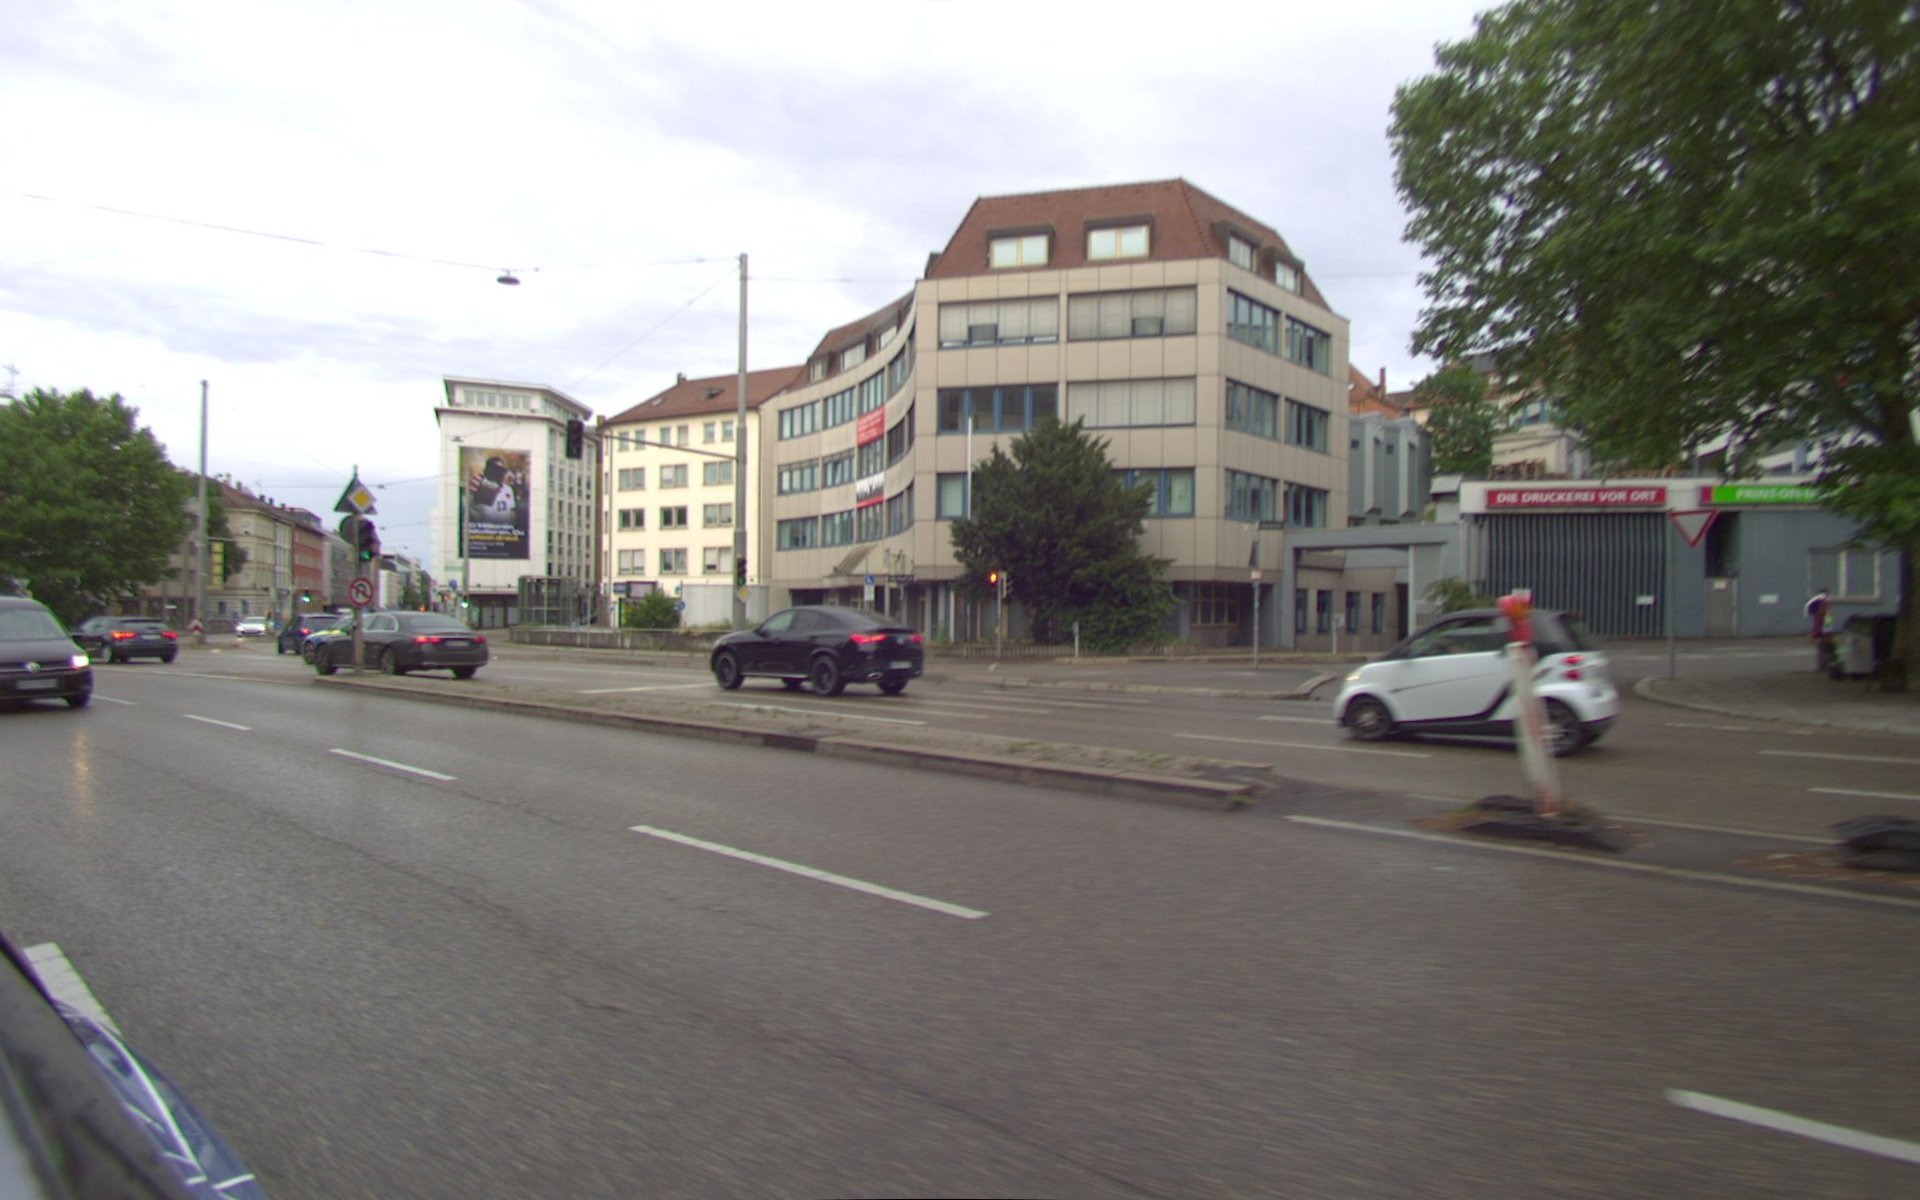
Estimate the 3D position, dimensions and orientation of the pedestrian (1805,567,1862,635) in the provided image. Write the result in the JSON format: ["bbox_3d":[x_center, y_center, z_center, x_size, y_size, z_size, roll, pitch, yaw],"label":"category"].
[{"bbox_3d":[26.337,0.051,30.527,0.972,2.029,0.837,0,-2,15],"label":"pedestrian"}]

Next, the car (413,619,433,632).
[{"bbox_3d":[-66.289,3.208,124.946,1.843,1.590,4.013,1,-2,-23],"label":"car"}]

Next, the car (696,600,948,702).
[{"bbox_3d":[-2.719,0.947,19.228,4.933,1.690,1.973,-2,-3,40],"label":"car"}]

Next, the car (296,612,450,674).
[{"bbox_3d":[-17.220,1.228,29.642,4.569,1.695,1.755,-1,-2,28],"label":"car"}]

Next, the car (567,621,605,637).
[{"bbox_3d":[-36.593,2.844,99.232,1.895,1.603,3.991,0,-2,7],"label":"car"}]

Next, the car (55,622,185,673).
[{"bbox_3d":[-25.405,1.405,30.585,4.068,1.427,1.753,-1,-2,31],"label":"car"}]

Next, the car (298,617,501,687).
[{"bbox_3d":[-12.770,1.159,22.952,4.923,1.449,1.977,-2,-3,34],"label":"car"}]

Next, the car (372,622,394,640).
[{"bbox_3d":[-62.437,3.388,109.497,1.966,1.857,4.453,1,-2,-30],"label":"car"}]

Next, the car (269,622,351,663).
[{"bbox_3d":[-25.493,1.629,39.651,4.121,1.524,1.743,-2,-3,43],"label":"car"}]

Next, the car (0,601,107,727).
[{"bbox_3d":[-15.441,0.971,15.994,4.110,1.813,1.778,-1,0,31],"label":"car"}]

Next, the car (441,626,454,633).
[{"bbox_3d":[-91.465,5.306,180.571,1.750,1.331,3.690,1,-2,-22],"label":"car"}]

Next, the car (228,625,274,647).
[{"bbox_3d":[-49.800,2.531,71.164,1.966,1.462,4.242,1,-2,-26],"label":"car"}]

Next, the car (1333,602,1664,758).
[{"bbox_3d":[5.952,0.838,11.334,2.949,1.496,1.538,-3,-3,43],"label":"car"}]
